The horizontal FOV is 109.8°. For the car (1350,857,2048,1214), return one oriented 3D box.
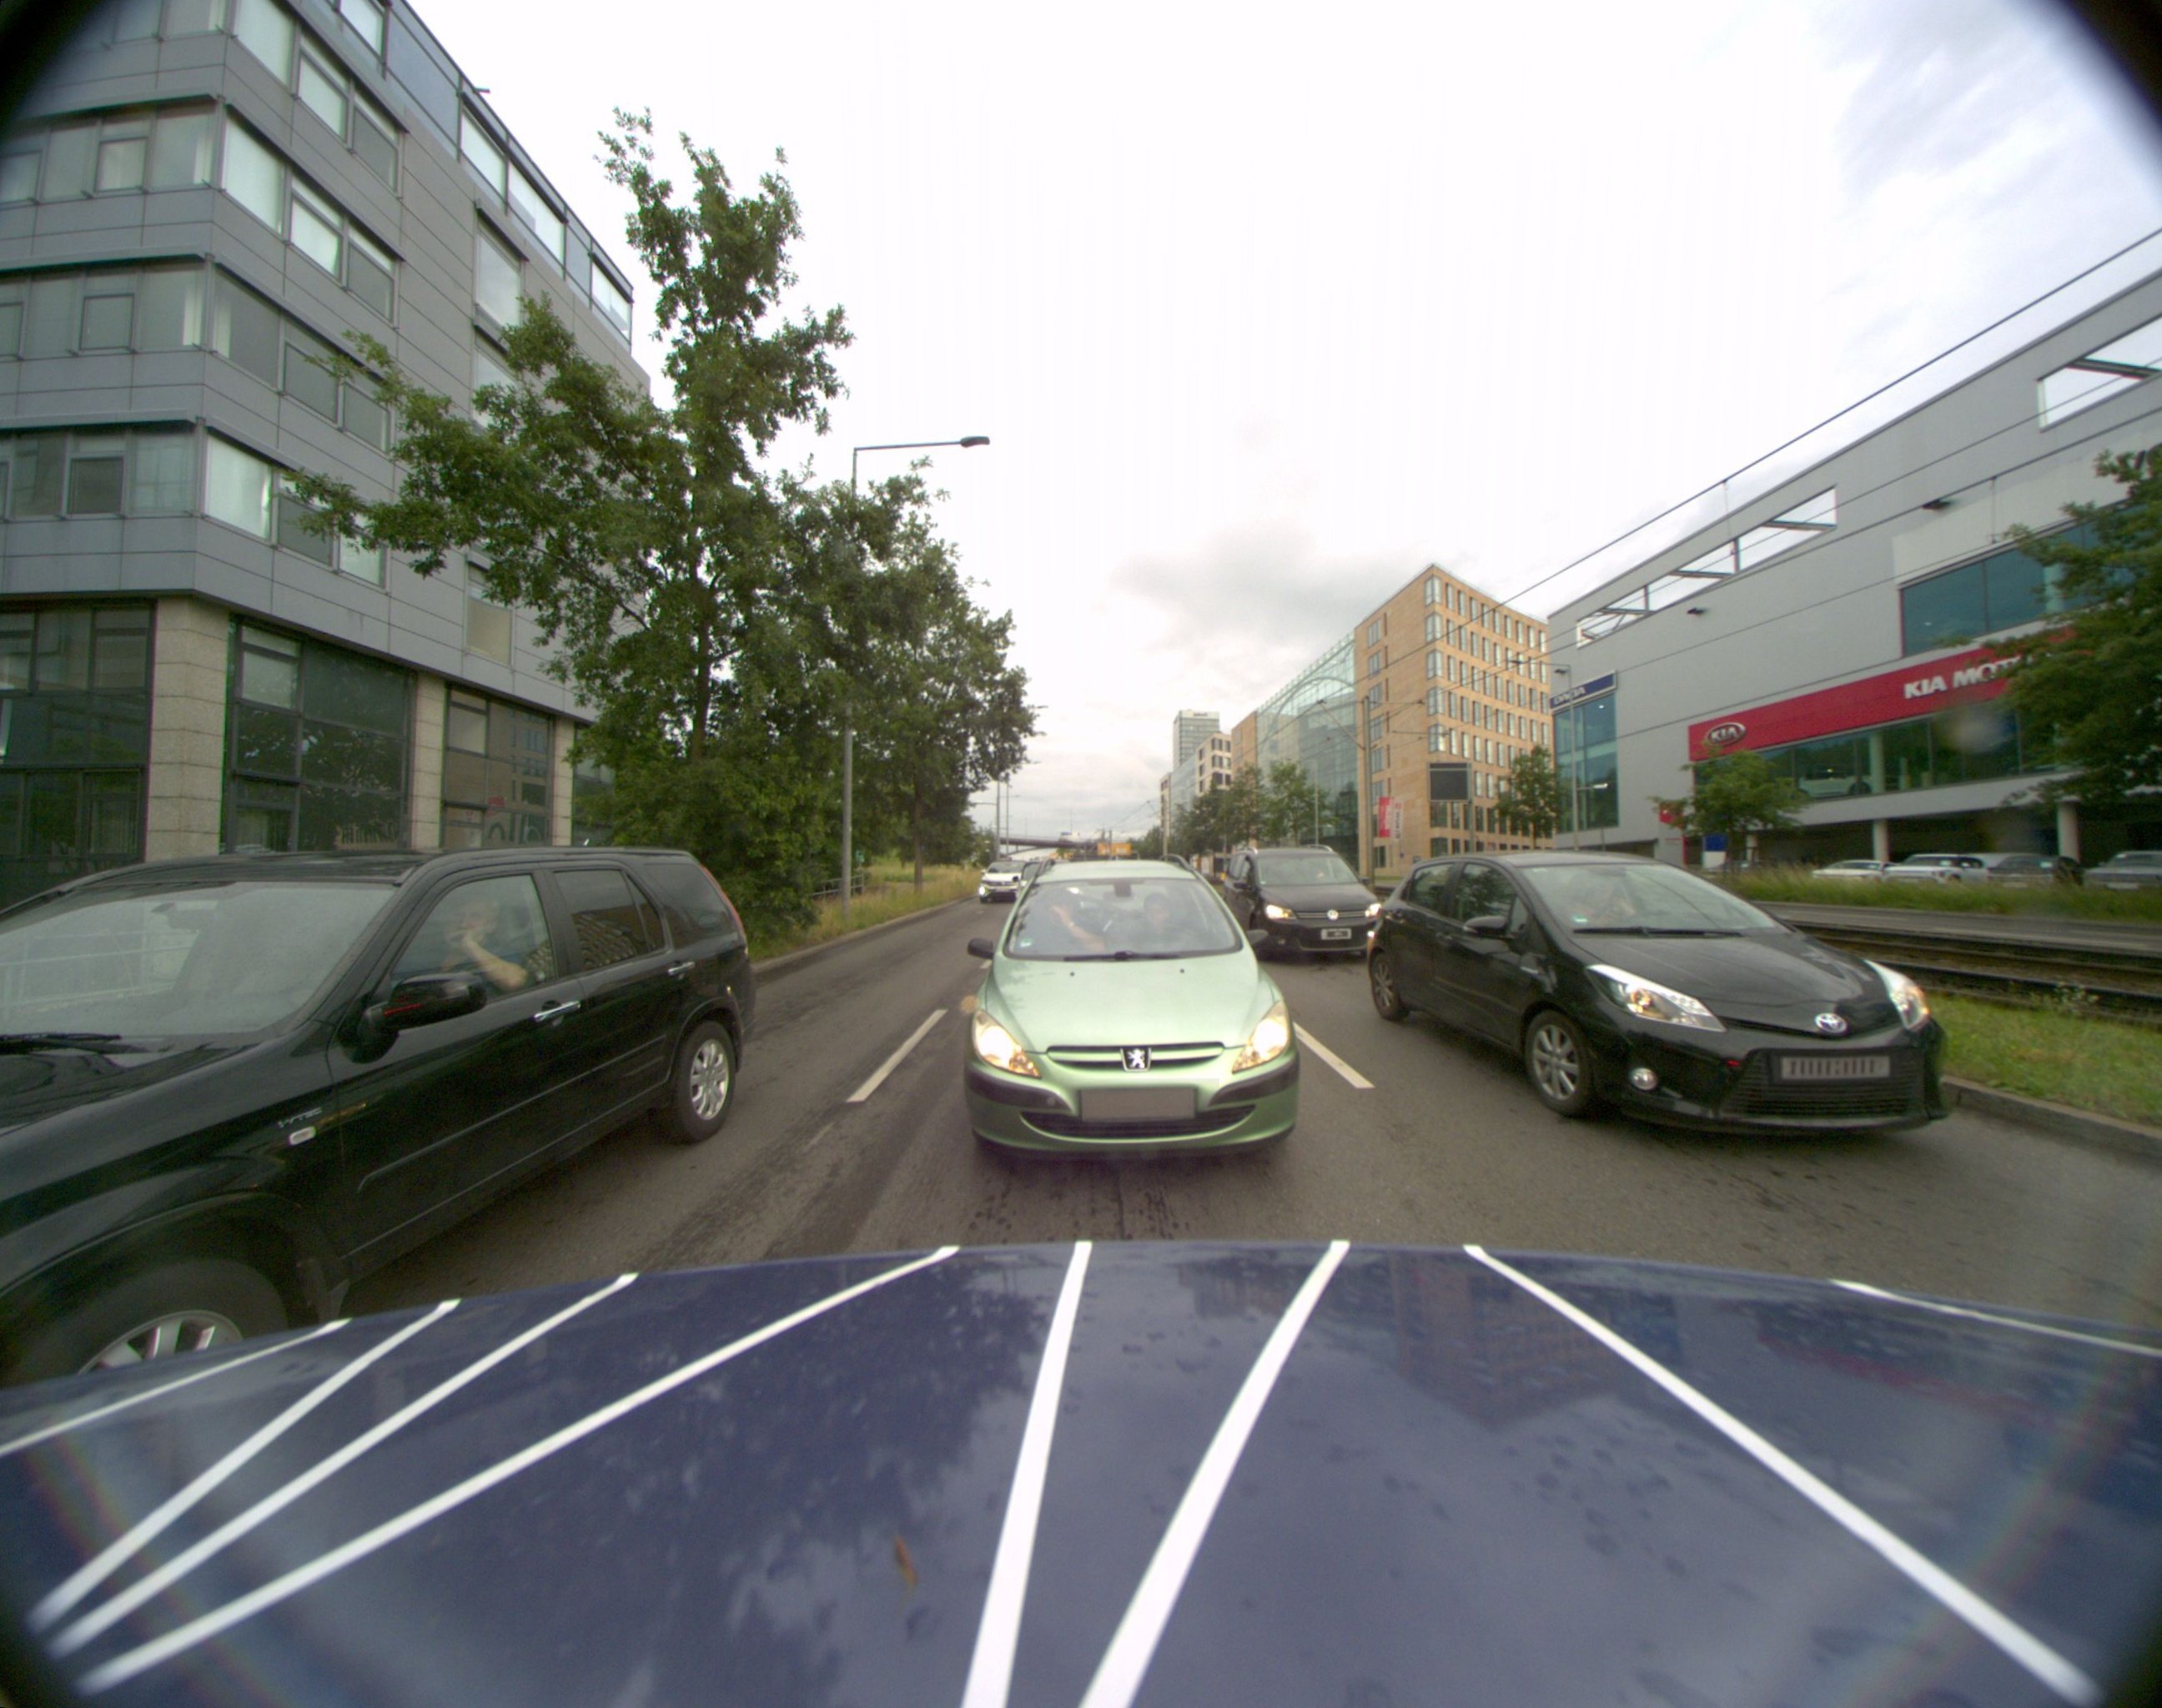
[{"bbox_3d":[3.424,0.811,5.279,1.704,1.523,3.826,-1,0,-1],"label":"car"}]

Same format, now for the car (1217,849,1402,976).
[{"bbox_3d":[3.304,0.748,11.885,1.786,1.597,4.318,-1,0,3],"label":"car"}]

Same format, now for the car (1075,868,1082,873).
[{"bbox_3d":[-0.840,5.420,246.269,1.655,1.428,3.876,-2,2,-6],"label":"car"}]

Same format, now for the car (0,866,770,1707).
[{"bbox_3d":[-2.959,0.927,2.797,1.759,1.649,4.338,-1,0,1],"label":"car"}]

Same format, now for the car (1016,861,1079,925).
[{"bbox_3d":[-0.924,0.972,20.140,1.518,1.495,3.167,-1,0,-4],"label":"car"}]

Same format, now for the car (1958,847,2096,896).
[{"bbox_3d":[31.595,0.569,25.401,3.528,1.344,1.696,-4,1,-17],"label":"car"}]

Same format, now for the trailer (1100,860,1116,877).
[{"bbox_3d":[7.169,3.797,205.902,3.143,4.304,13.277,2,0,-3],"label":"trailer"}]

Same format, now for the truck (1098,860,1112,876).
[{"bbox_3d":[6.751,3.875,213.001,3.144,4.219,7.026,2,0,-3],"label":"truck"}]

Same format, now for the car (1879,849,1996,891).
[{"bbox_3d":[31.757,0.561,28.182,3.668,1.287,1.696,-4,1,-22],"label":"car"}]

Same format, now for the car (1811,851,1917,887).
[{"bbox_3d":[31.734,0.577,30.787,3.668,1.181,1.696,-4,1,-22],"label":"car"}]

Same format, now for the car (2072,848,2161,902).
[{"bbox_3d":[32.023,0.589,22.856,3.528,1.344,1.696,-4,1,-20],"label":"car"}]

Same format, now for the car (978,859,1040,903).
[{"bbox_3d":[-2.621,0.953,28.477,1.827,1.495,3.766,-1,0,1],"label":"car"}]

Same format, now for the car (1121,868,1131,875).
[{"bbox_3d":[9.754,3.761,165.192,1.589,1.504,4.100,1,0,-5],"label":"car"}]

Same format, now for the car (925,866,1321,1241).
[{"bbox_3d":[0.170,0.907,5.513,1.704,1.523,4.370,-1,0,-1],"label":"car"}]

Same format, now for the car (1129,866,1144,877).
[{"bbox_3d":[9.449,3.014,129.826,1.999,1.709,4.839,1,0,-4],"label":"car"}]
